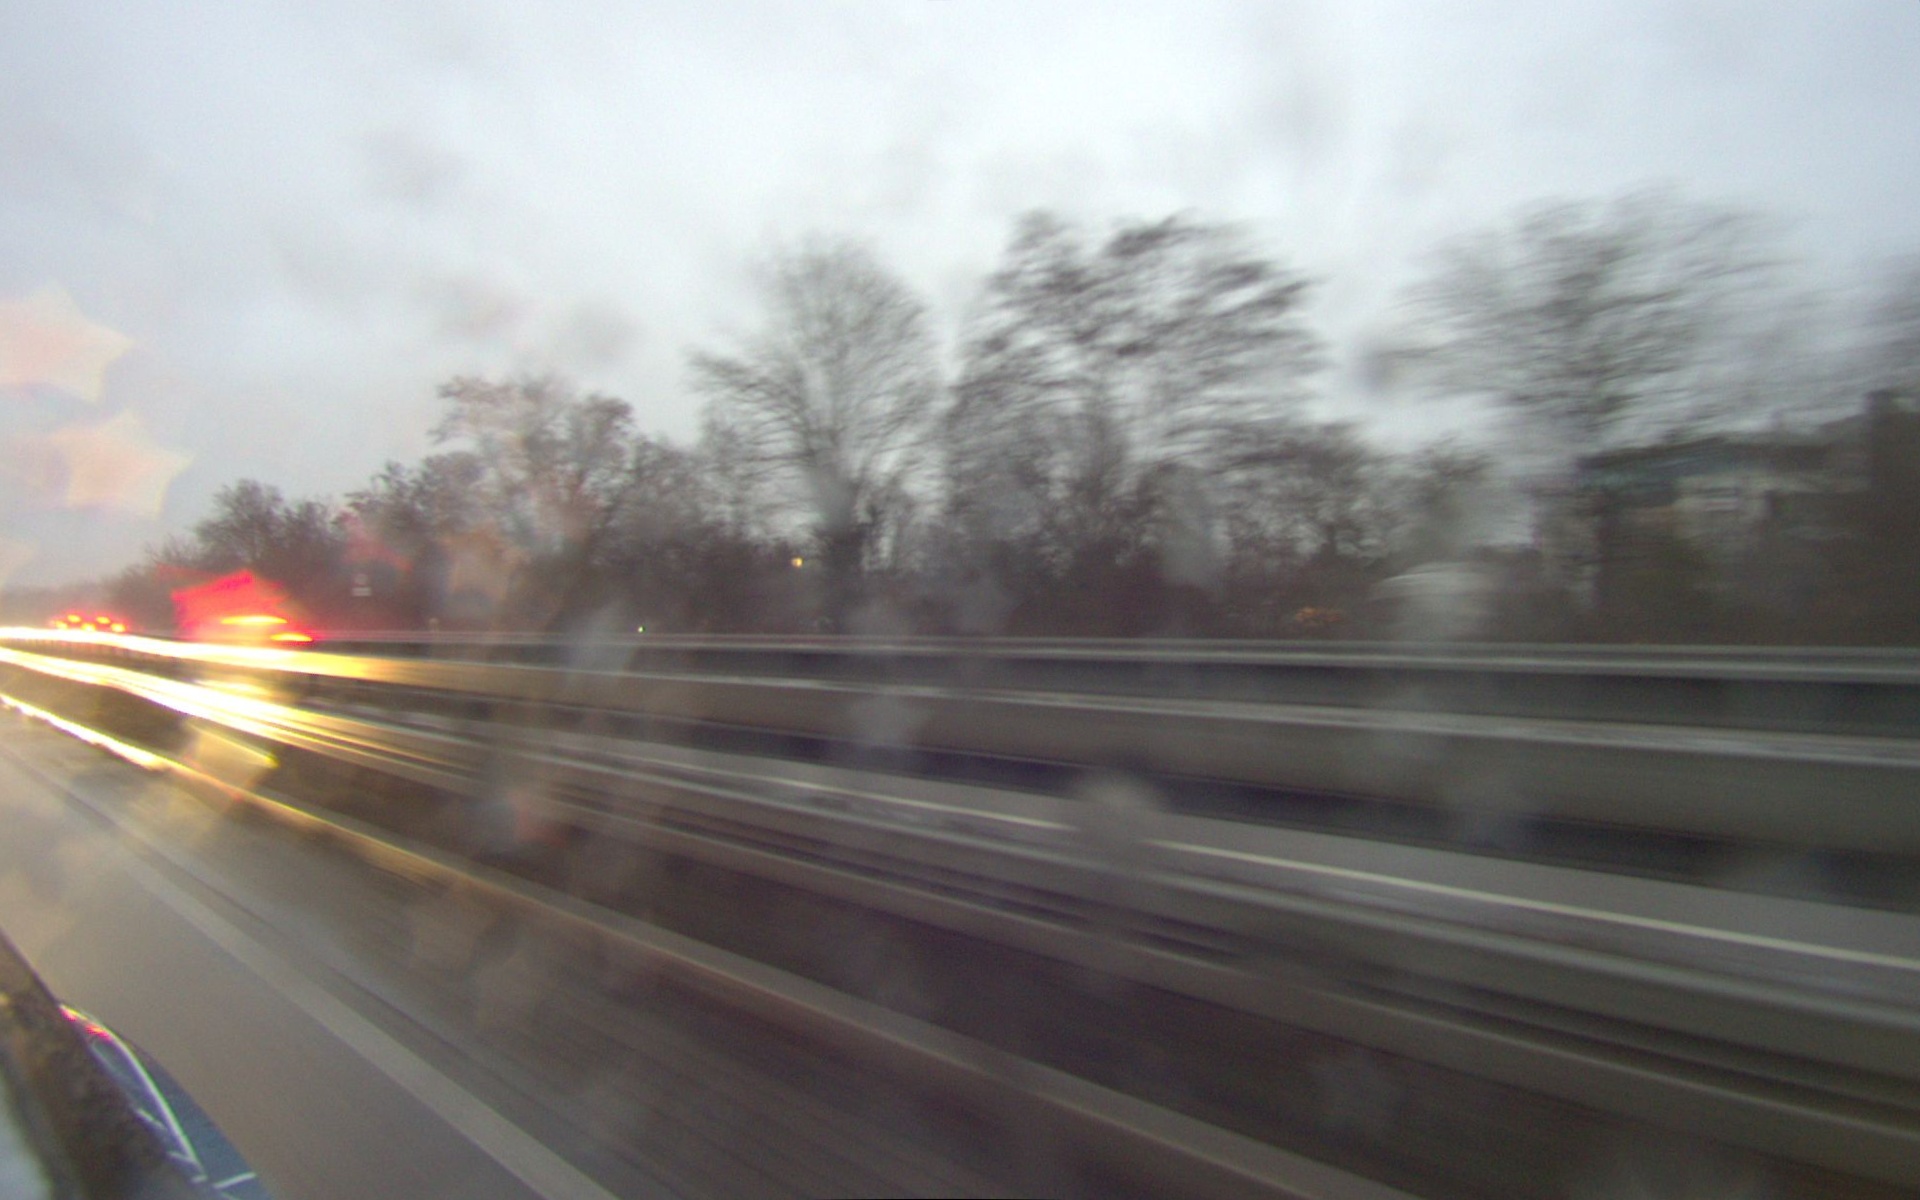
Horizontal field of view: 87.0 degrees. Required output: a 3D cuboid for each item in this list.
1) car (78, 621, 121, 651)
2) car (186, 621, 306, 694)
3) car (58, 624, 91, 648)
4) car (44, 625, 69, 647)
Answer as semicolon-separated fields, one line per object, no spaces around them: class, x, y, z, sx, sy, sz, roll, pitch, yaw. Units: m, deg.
car;-57.189;2.367;67.245;4.136;1.847;1.726;0;-1;43
car;-18.538;1.418;26.222;4.000;1.652;1.721;-1;1;43
car;-78.486;3.141;89.744;1.910;1.988;4.546;0;-1;-38
car;-104.239;4.163;116.737;1.824;2.455;5.419;0;-1;-45
